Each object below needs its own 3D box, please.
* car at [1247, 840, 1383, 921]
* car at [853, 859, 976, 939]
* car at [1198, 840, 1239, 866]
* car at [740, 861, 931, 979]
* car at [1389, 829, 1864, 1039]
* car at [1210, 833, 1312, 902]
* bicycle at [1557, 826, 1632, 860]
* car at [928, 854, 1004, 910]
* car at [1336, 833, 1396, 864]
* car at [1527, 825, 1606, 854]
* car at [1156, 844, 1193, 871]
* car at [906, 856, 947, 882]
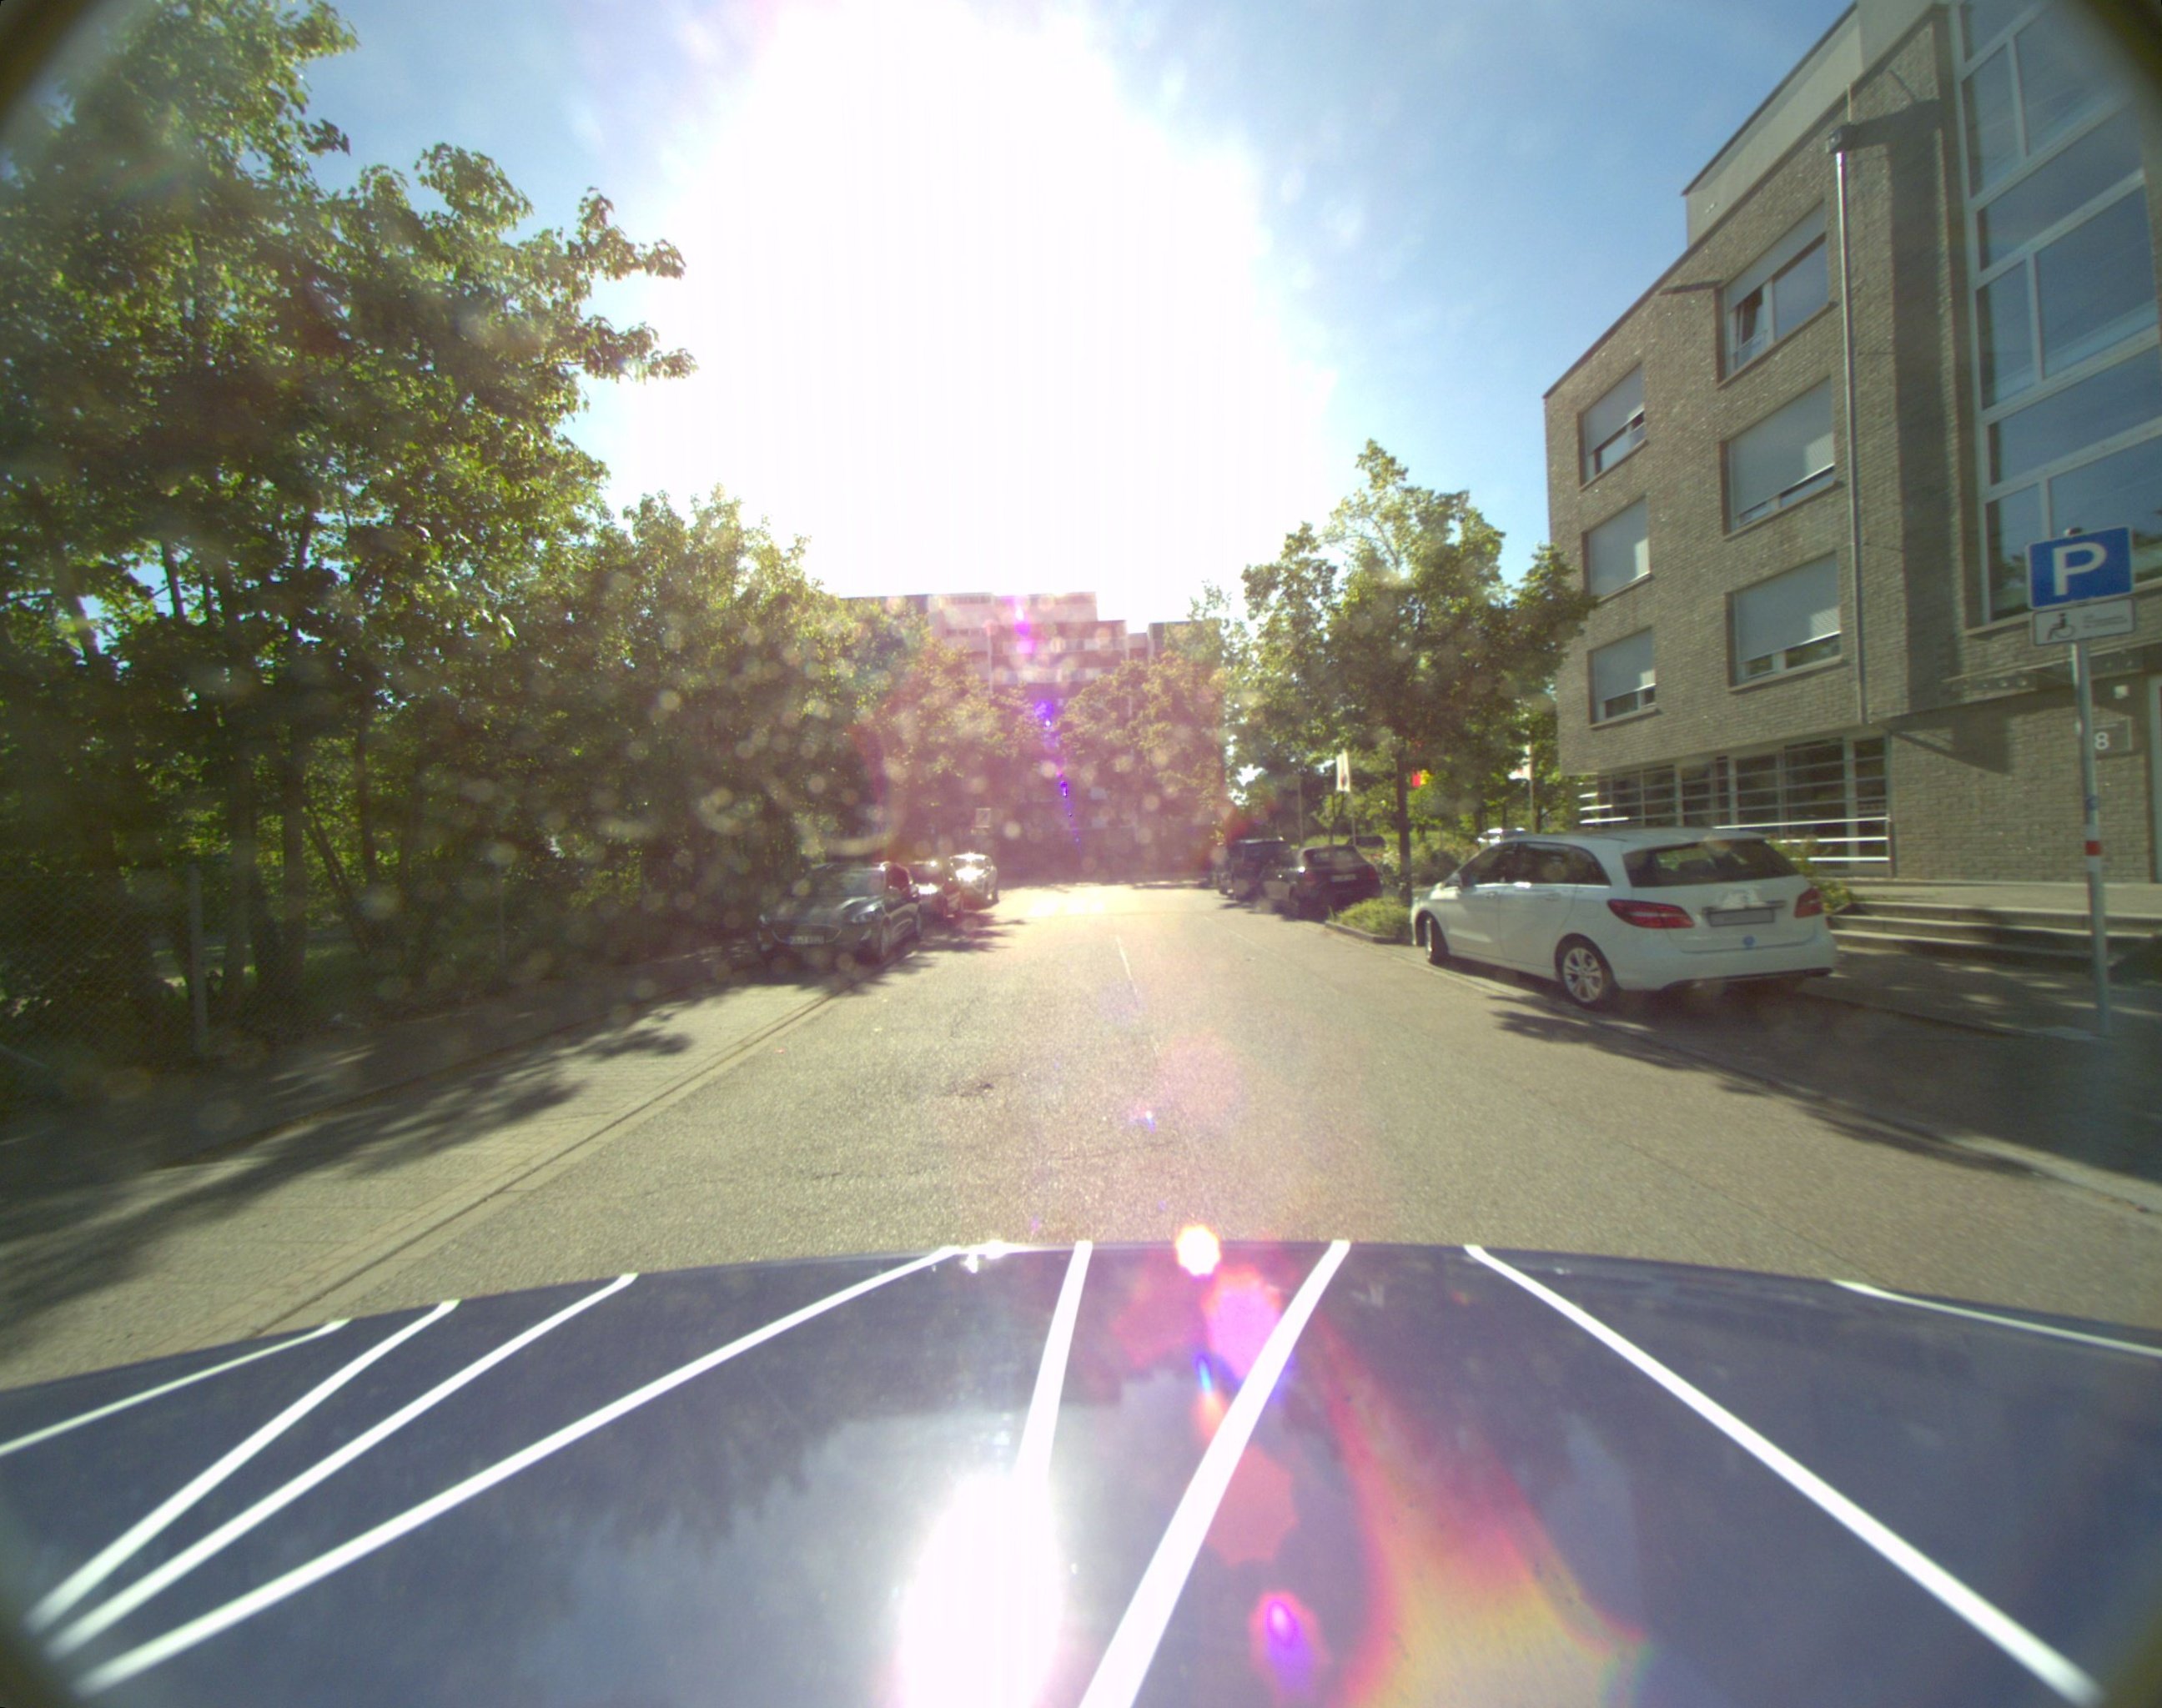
[{"bbox_3d":[4.928,0.506,16.550,1.582,1.495,3.789,-2,0,-3],"label":"car"},{"bbox_3d":[-3.665,0.931,17.478,1.829,1.463,4.068,-3,1,1],"label":"car"},{"bbox_3d":[8.633,-0.077,48.064,1.821,1.379,3.998,-2,3,0],"label":"car"},{"bbox_3d":[-3.741,0.905,12.445,1.680,1.429,4.438,-3,1,-1],"label":"car"},{"bbox_3d":[5.030,0.610,7.913,1.664,1.523,4.286,-2,0,-3],"label":"car"},{"bbox_3d":[5.028,0.299,21.851,1.891,1.610,4.338,-6,1,2],"label":"car"},{"bbox_3d":[17.366,-0.354,25.734,2.191,1.041,0.438,-3,0,0],"label":"bicycle"},{"bbox_3d":[-3.552,0.815,24.210,1.623,1.443,4.090,-3,2,2],"label":"car"},{"bbox_3d":[17.803,-0.384,47.653,1.998,1.769,4.601,-3,1,1],"label":"car"},{"bbox_3d":[29.946,-0.836,47.024,1.816,1.536,4.456,-3,-1,-2],"label":"car"},{"bbox_3d":[5.864,0.186,48.037,1.700,1.490,3.819,-3,2,-3],"label":"car"},{"bbox_3d":[-9.756,0.924,48.233,1.716,1.443,3.999,-2,2,1],"label":"car"}]
